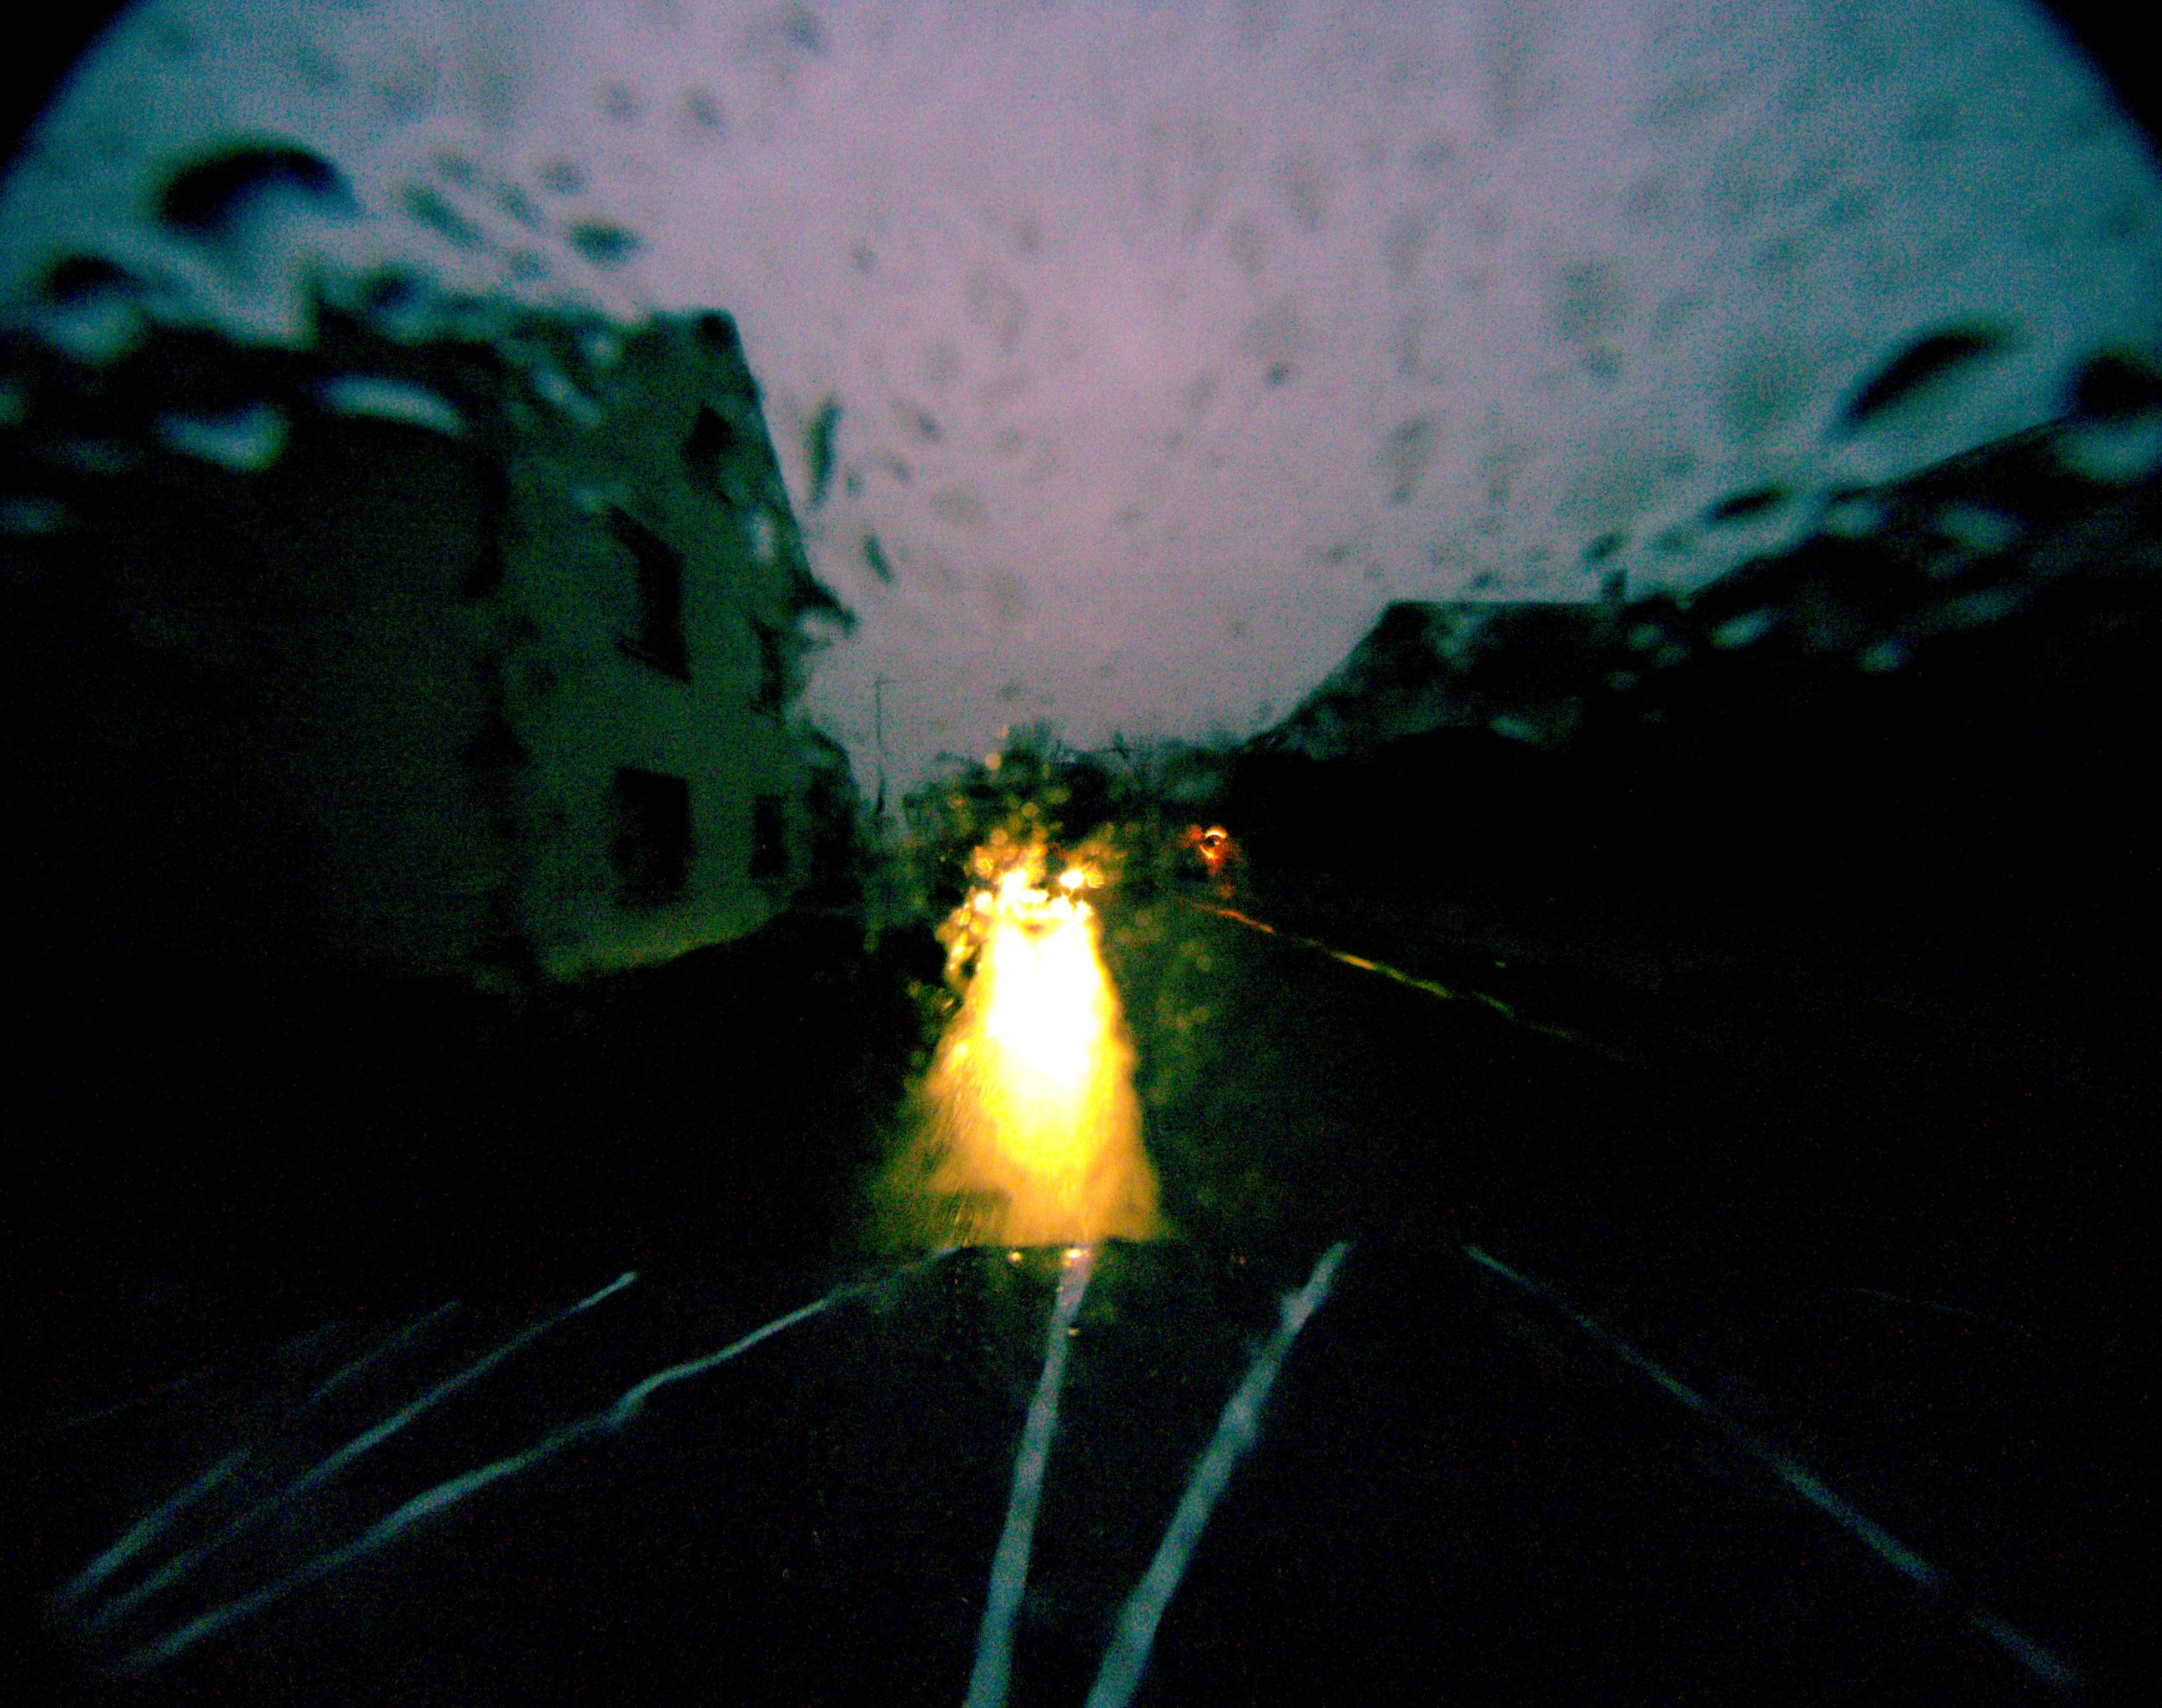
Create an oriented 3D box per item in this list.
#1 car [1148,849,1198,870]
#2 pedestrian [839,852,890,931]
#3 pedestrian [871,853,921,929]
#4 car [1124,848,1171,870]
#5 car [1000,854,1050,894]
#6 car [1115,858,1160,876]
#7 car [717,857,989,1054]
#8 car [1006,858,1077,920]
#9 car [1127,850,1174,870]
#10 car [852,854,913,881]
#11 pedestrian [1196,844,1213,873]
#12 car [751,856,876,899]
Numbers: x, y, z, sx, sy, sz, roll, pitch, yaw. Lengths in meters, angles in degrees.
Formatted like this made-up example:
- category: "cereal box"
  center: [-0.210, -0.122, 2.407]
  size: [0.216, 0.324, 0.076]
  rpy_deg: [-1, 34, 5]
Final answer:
- category: "car"
  center: [7.099, 0.425, 58.733]
  size: [3.478, 1.401, 1.612]
  rpy_deg: [-2, 0, 19]
- category: "pedestrian"
  center: [-4.924, 0.828, 17.306]
  size: [0.850, 1.723, 0.971]
  rpy_deg: [2, 0, -1]
- category: "pedestrian"
  center: [-4.201, 0.816, 17.316]
  size: [0.869, 1.657, 0.992]
  rpy_deg: [2, 0, -1]
- category: "car"
  center: [5.614, 0.420, 64.110]
  size: [3.627, 1.603, 1.612]
  rpy_deg: [-2, 1, 18]
- category: "car"
  center: [-2.544, 0.837, 33.706]
  size: [1.924, 1.608, 3.865]
  rpy_deg: [-3, 0, -8]
- category: "car"
  center: [5.414, 1.268, 72.412]
  size: [3.993, 1.623, 1.636]
  rpy_deg: [-1, 0, 14]
- category: "car"
  center: [-2.264, 0.901, 8.860]
  size: [1.852, 1.627, 4.335]
  rpy_deg: [-2, 0, -1]
- category: "car"
  center: [-1.160, 0.900, 21.217]
  size: [1.732, 1.475, 3.602]
  rpy_deg: [-3, 0, -5]
- category: "car"
  center: [6.181, 0.552, 67.311]
  size: [3.994, 1.623, 1.636]
  rpy_deg: [-1, 0, 9]
- category: "car"
  center: [-14.011, 0.932, 53.776]
  size: [4.057, 1.832, 1.861]
  rpy_deg: [1, 0, -14]
- category: "pedestrian"
  center: [7.657, 0.264, 47.191]
  size: [0.882, 1.724, 0.955]
  rpy_deg: [-2, 0, 0]
- category: "car"
  center: [-9.453, 0.822, 27.122]
  size: [3.912, 1.465, 1.750]
  rpy_deg: [0, 0, -6]
